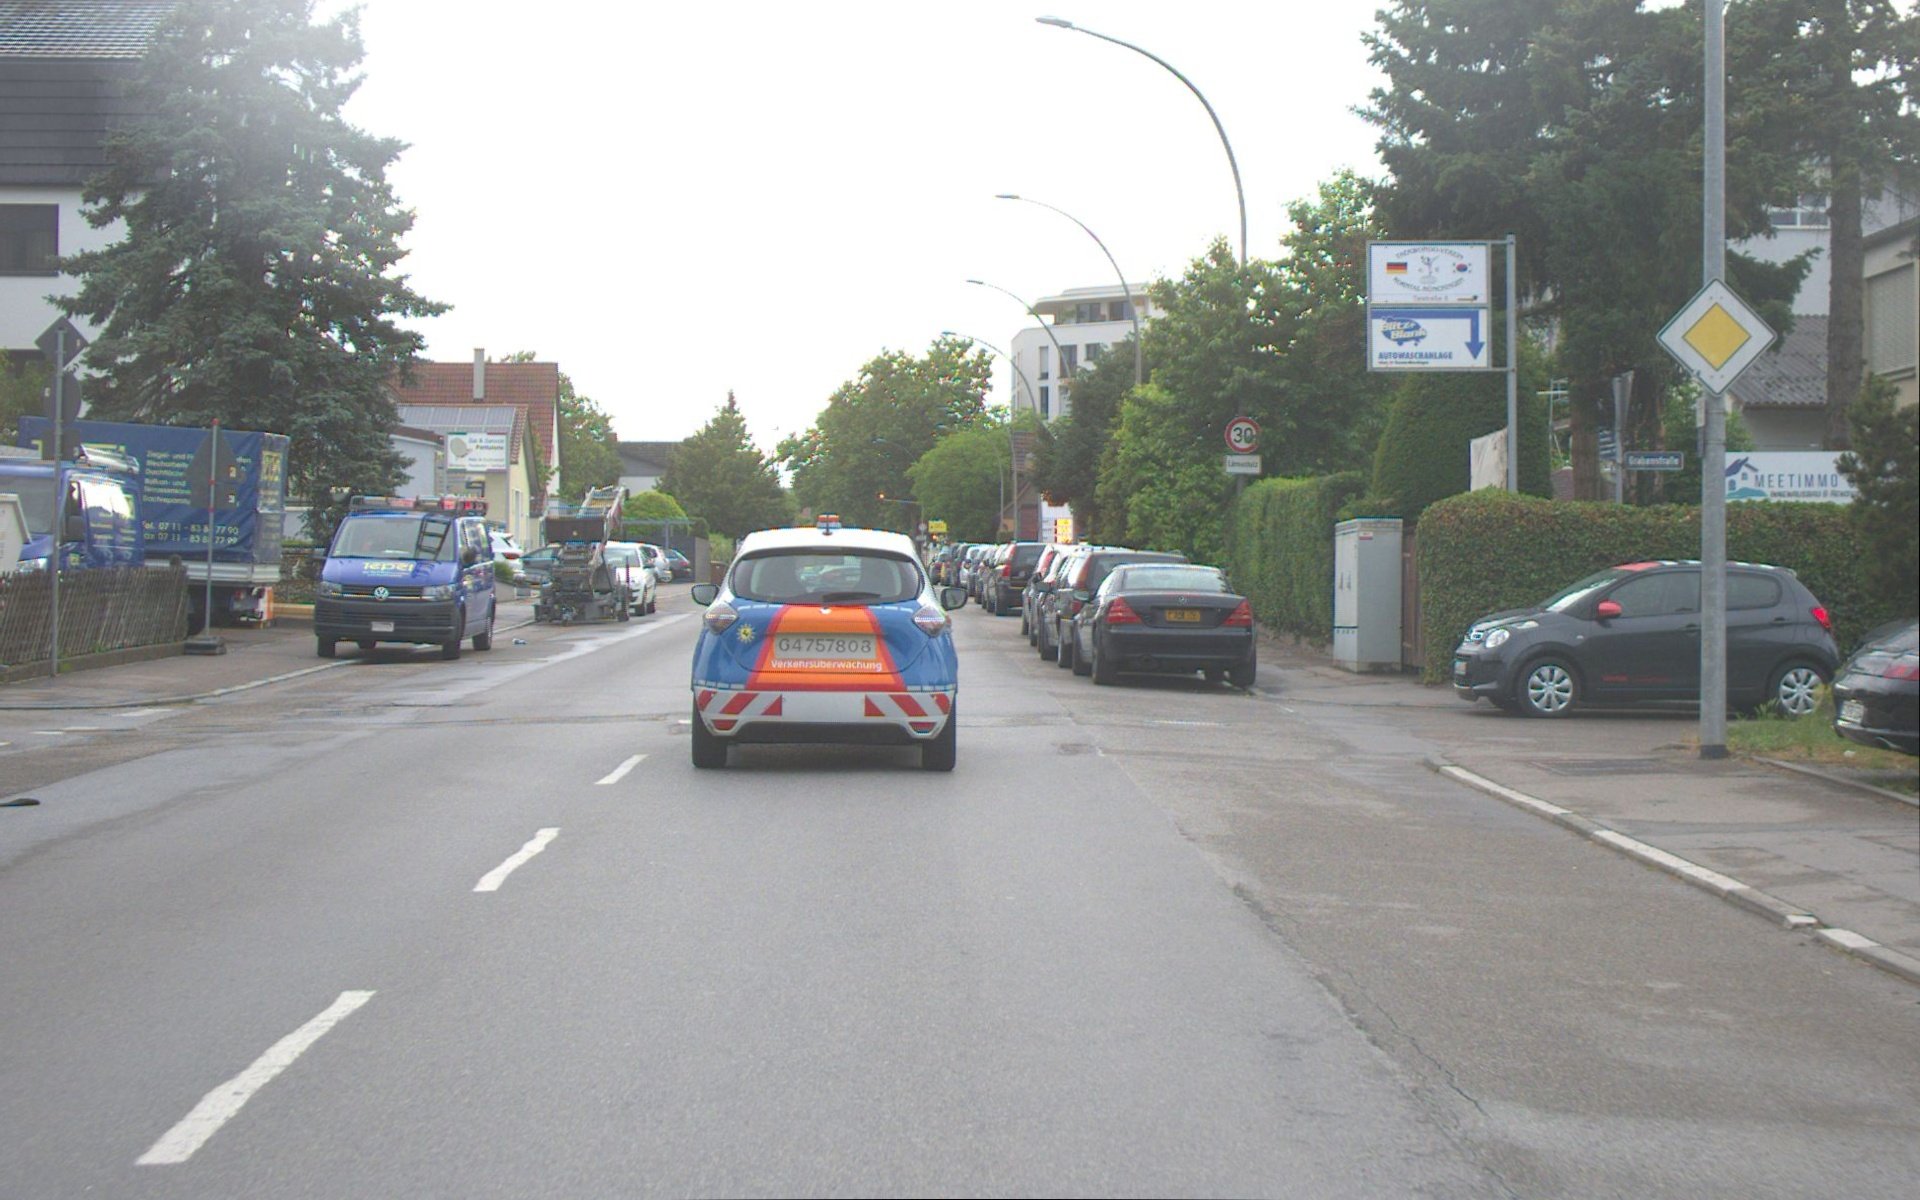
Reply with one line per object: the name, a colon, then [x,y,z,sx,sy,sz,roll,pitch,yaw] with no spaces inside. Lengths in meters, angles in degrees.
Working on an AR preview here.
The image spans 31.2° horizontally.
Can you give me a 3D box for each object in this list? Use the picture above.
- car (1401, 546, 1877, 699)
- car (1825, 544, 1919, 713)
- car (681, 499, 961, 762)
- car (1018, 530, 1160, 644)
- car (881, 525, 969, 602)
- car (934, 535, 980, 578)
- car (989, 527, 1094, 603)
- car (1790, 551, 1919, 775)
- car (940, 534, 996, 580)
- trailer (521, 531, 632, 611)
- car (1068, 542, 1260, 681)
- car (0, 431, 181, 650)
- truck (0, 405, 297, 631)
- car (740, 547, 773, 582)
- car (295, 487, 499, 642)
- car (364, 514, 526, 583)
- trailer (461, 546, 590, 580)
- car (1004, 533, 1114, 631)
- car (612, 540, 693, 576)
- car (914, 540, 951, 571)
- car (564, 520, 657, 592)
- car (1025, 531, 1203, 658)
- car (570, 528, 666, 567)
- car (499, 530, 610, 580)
car: [6.297,0.197,32.209,3.986,1.262,1.951,2,1,-2]
car: [10.235,0.303,32.397,3.614,1.533,1.860,2,0,-2]
car: [-0.925,0.173,23.225,1.731,1.625,3.495,1,1,-2]
car: [1.752,-0.214,47.778,1.657,1.444,3.830,2,1,-2]
car: [-0.760,-0.777,72.177,1.650,1.516,4.000,2,1,-3]
car: [-0.131,-1.782,139.753,1.650,1.666,4.000,2,1,-3]
car: [1.607,-0.713,69.524,1.711,1.433,4.527,2,1,-3]
car: [7.187,0.412,20.478,3.987,1.262,1.951,2,1,1]
car: [0.261,-1.475,117.983,1.650,1.516,4.000,2,1,-3]
trailer: [-7.145,-0.573,64.377,1.717,1.256,5.245,2,3,-3]
car: [2.170,0.087,37.558,1.589,1.336,4.093,3,1,-3]
car: [-11.629,-0.753,43.568,2.075,2.558,6.202,2,1,0]
truck: [-12.812,-1.204,49.633,5.911,3.063,2.450,2,0,0]
car: [-8.879,-1.561,150.401,1.386,1.478,3.784,1,1,-3]
car: [-7.551,-0.482,46.606,1.993,1.940,5.366,1,1,-2]
car: [-12.732,-1.273,85.153,3.759,1.562,1.655,2,0,-2]
trailer: [-14.127,-1.208,111.981,4.022,0.991,1.655,2,1,-2]
car: [1.517,-0.311,53.843,1.487,1.434,3.807,2,1,-1]
car: [-12.634,-1.740,141.325,3.281,1.443,1.480,-1,1,-5]
car: [-1.371,-2.210,171.677,1.650,1.478,4.000,2,1,-3]
car: [-7.297,-0.913,72.096,1.557,1.428,4.000,2,1,-1]
car: [1.834,-0.090,42.279,1.656,1.414,4.778,2,1,-3]
car: [-13.235,-2.033,133.130,3.653,1.478,1.480,-1,1,-5]
car: [-13.486,-1.495,114.453,3.579,1.521,1.656,2,0,-5]
